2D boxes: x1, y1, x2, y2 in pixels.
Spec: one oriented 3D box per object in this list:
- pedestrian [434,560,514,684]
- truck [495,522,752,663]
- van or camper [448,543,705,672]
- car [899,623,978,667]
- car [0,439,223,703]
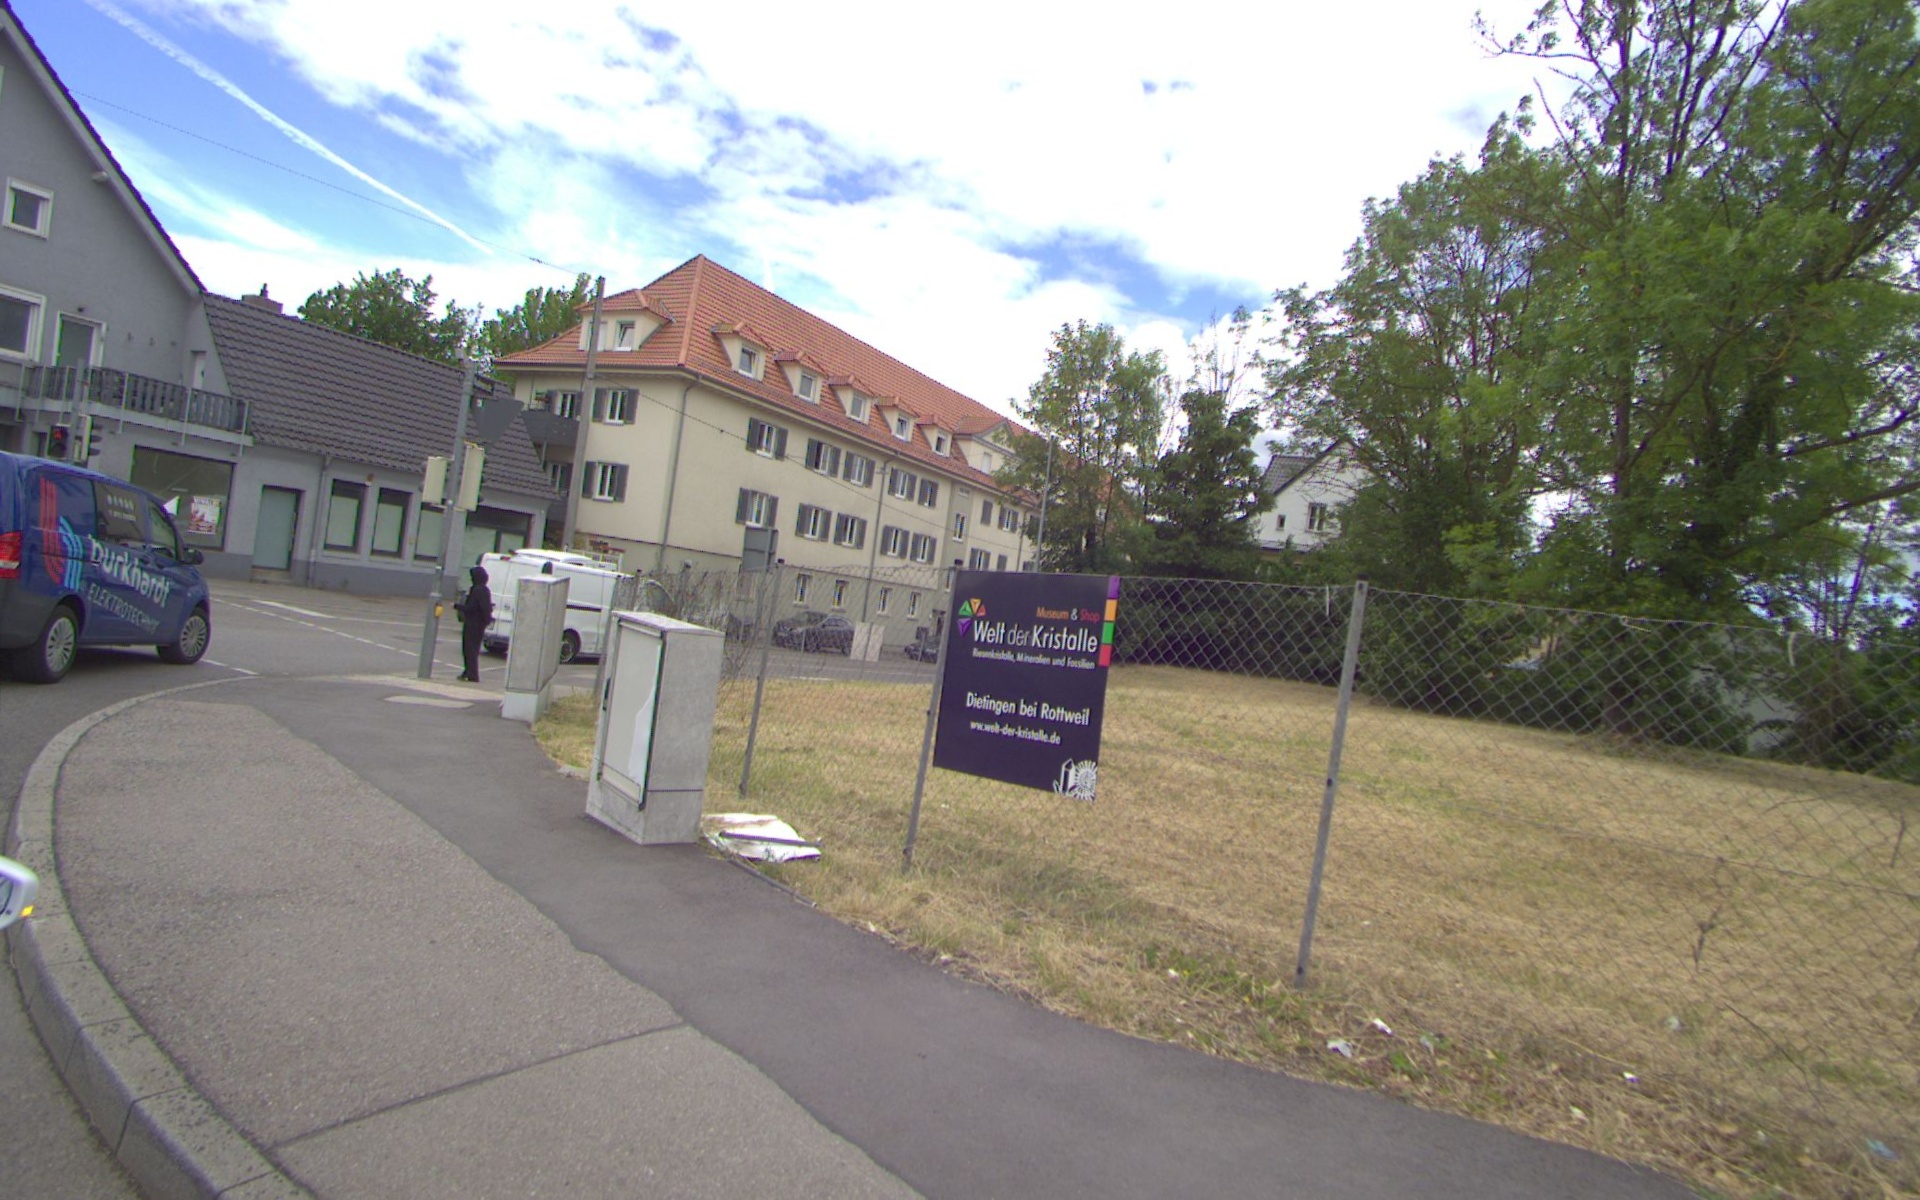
[{"bbox_3d":[-6.635,0.305,13.747,0.599,1.616,0.606,4,-2,29],"label":"pedestrian"},{"bbox_3d":[-8.451,-0.040,26.146,1.966,2.730,6.405,7,-3,30],"label":"truck"},{"bbox_3d":[-7.735,0.289,20.988,1.963,2.036,5.101,9,-2,19],"label":"van or camper"},{"bbox_3d":[-1.028,2.303,50.796,1.967,1.770,3.994,6,-2,32],"label":"car"},{"bbox_3d":[-8.903,-0.374,9.432,1.928,1.988,4.520,8,-1,-22],"label":"car"}]
